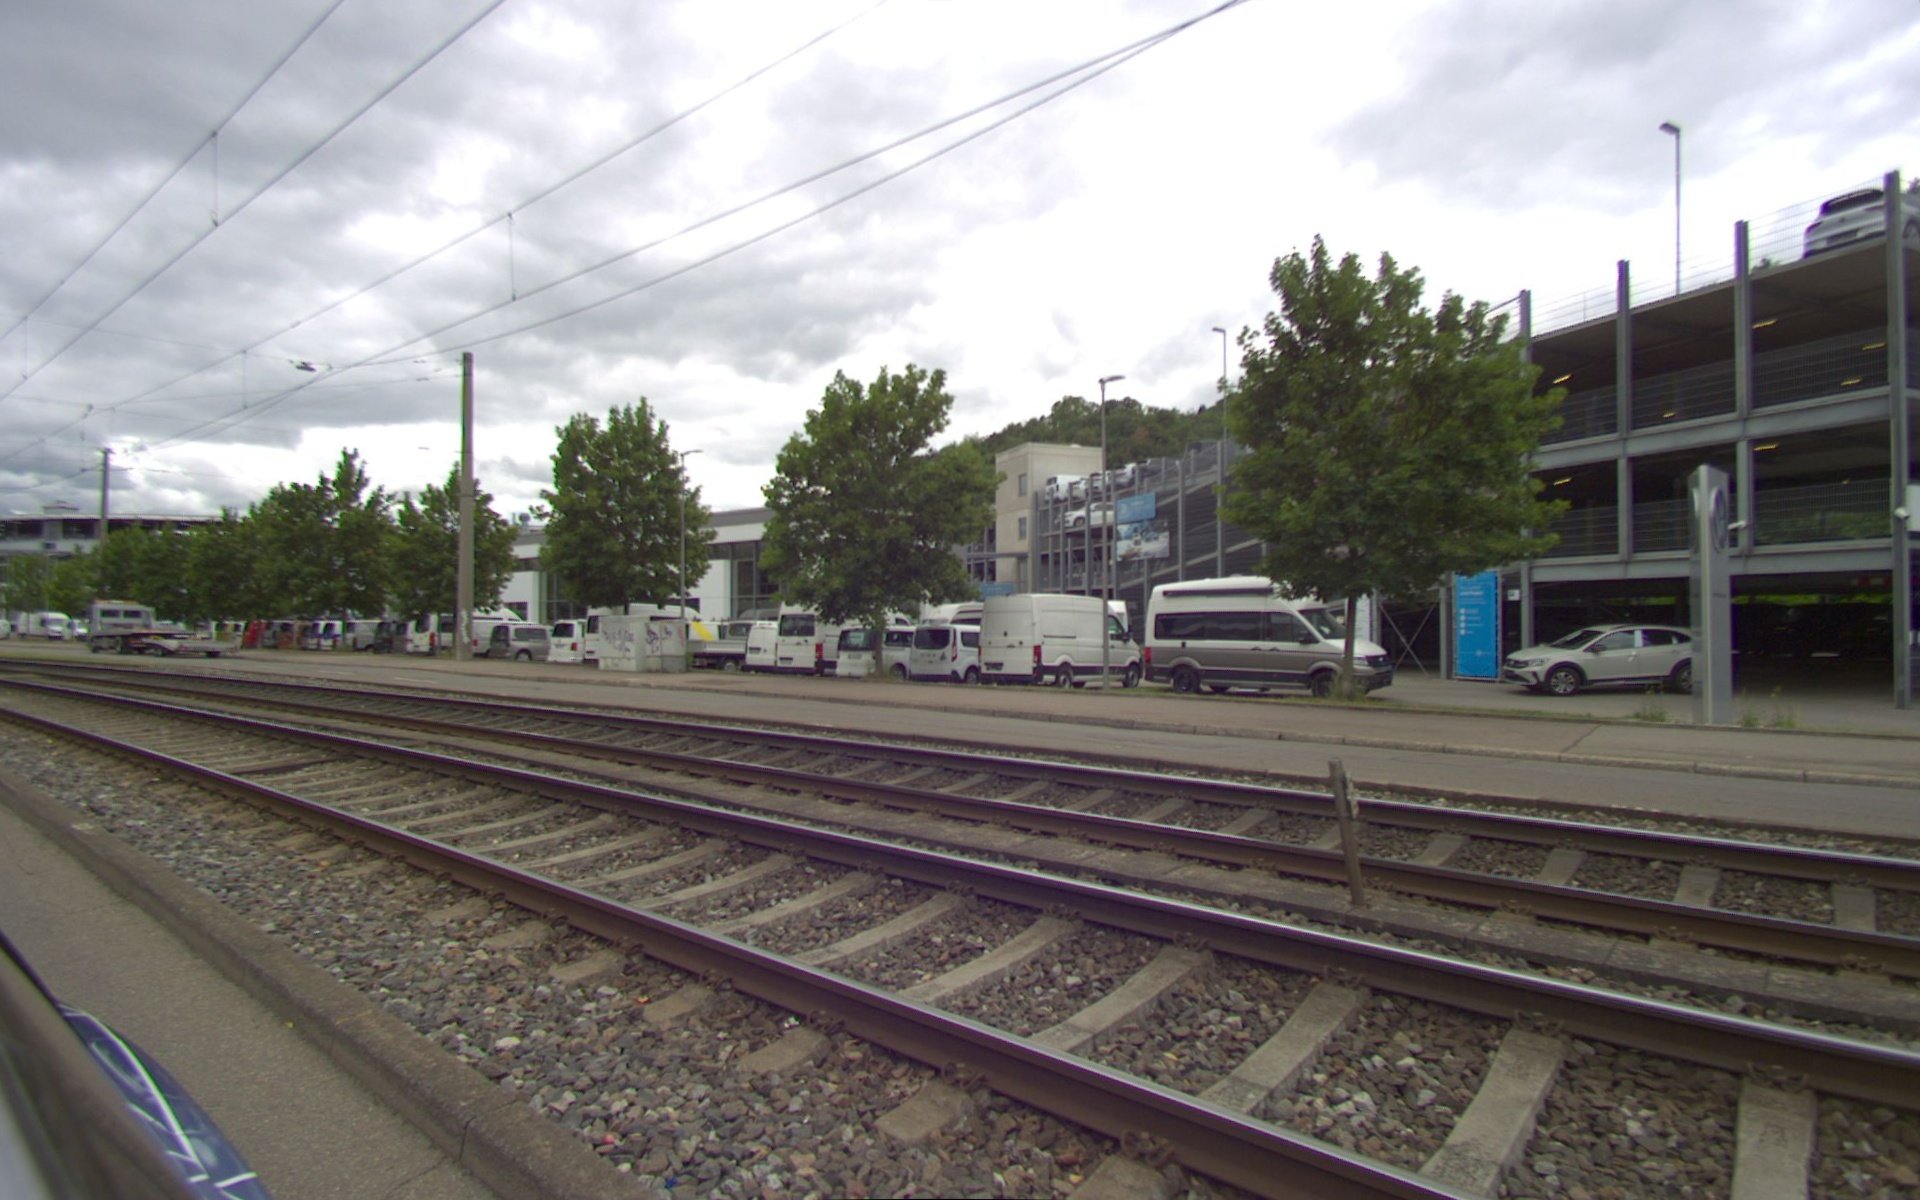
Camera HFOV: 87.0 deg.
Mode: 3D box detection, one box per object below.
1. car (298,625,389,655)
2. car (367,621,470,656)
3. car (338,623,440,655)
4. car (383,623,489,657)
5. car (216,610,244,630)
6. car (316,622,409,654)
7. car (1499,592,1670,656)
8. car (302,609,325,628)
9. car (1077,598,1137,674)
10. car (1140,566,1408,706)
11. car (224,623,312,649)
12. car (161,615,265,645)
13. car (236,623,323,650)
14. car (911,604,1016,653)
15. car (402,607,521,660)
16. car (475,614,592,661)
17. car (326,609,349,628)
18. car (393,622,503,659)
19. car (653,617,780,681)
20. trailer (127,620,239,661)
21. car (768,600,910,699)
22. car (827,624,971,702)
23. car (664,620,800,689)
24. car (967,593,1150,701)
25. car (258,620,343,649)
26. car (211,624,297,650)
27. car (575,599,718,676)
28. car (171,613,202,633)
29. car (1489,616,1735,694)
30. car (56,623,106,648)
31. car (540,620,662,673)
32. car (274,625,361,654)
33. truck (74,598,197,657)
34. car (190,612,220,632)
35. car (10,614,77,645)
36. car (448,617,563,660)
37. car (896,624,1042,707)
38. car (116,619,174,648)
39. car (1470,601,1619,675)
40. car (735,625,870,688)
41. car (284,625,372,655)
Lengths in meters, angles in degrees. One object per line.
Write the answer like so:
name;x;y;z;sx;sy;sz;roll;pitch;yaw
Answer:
car;-34.577;2.209;56.813;1.999;1.630;3.945;-2;-2;41
car;-28.085;1.982;52.594;2.003;1.699;4.320;-2;-2;41
car;-30.144;2.039;53.508;2.002;1.630;4.321;-2;-2;40
car;-26.236;1.977;50.756;2.003;1.630;4.320;-2;-2;41
car;-76.461;2.115;106.069;1.966;2.029;4.012;1;-2;-30
car;-32.342;2.037;54.817;1.999;1.630;3.945;-2;-2;41
car;19.834;0.779;32.210;4.457;1.918;1.975;-1;-2;38
car;-69.990;1.980;109.587;1.966;2.029;4.012;1;-2;-30
car;5.631;1.321;38.131;1.982;2.622;5.933;-1;-1;10
car;7.533;0.865;24.810;5.936;3.042;2.085;-2;-2;42
car;-44.578;2.288;65.221;2.119;1.630;4.299;-2;-2;41
car;-51.590;2.071;70.075;5.618;2.023;2.150;1;-2;-32
car;-42.318;2.237;62.994;2.062;1.630;4.134;-2;-2;41
car;0.209;1.240;44.777;1.999;2.029;4.791;-2;-2;42
car;-22.933;1.522;46.678;2.124;2.329;4.449;-2;-2;41
car;-18.696;1.604;44.472;2.003;1.962;4.320;-2;-2;41
car;-67.928;2.043;110.477;1.966;2.029;4.012;1;-2;-30
car;-24.733;1.923;49.031;2.028;1.701;4.325;-1;-2;37
car;-8.869;1.746;37.156;2.000;2.189;4.326;-1;-2;36
trailer;-35.627;1.848;46.327;6.938;1.711;2.359;-1;-4;38
car;-3.675;1.465;31.492;2.000;2.840;4.326;-1;-2;36
car;-1.741;1.784;30.150;2.000;2.121;4.326;-1;-2;36
car;-7.731;1.791;34.656;2.000;2.189;4.326;-1;-2;36
car;2.778;1.207;27.371;2.245;2.622;5.417;-2;-2;40
car;-39.971;2.052;61.417;2.047;1.677;3.945;-2;-2;41
car;-46.665;2.445;66.966;2.153;1.630;4.290;-2;-2;41
car;-11.722;1.378;38.163;2.111;2.719;4.921;-1;-2;36
car;-78.825;2.326;103.134;1.966;2.029;4.012;1;-2;-30
car;14.460;1.205;22.690;4.086;1.630;1.995;-1;-2;7
car;-72.687;2.906;83.676;4.794;2.029;1.977;-2;-2;34
car;-14.471;1.829;40.987;2.000;2.026;4.326;-1;-2;36
car;-38.044;2.325;59.961;1.999;1.630;3.945;-2;-2;41
truck;-41.910;1.384;51.331;9.205;2.762;2.730;-1;-3;38
car;-78.298;2.319;105.008;1.966;2.029;4.012;1;-2;-30
car;-78.634;2.573;86.826;5.823;2.580;1.985;-1;-1;22
car;-20.522;1.710;45.852;2.003;1.859;4.320;-2;-2;41
car;0.332;1.772;28.654;2.000;2.121;4.326;-1;-2;36
car;-59.149;2.386;73.431;4.849;2.029;1.976;-1;-2;35
car;16.406;1.054;28.670;1.973;1.918;3.997;0;-2;2
car;-5.167;1.808;33.706;2.000;1.925;4.326;-1;-2;36
car;-36.449;2.269;58.431;1.999;1.630;3.945;-2;-2;41
